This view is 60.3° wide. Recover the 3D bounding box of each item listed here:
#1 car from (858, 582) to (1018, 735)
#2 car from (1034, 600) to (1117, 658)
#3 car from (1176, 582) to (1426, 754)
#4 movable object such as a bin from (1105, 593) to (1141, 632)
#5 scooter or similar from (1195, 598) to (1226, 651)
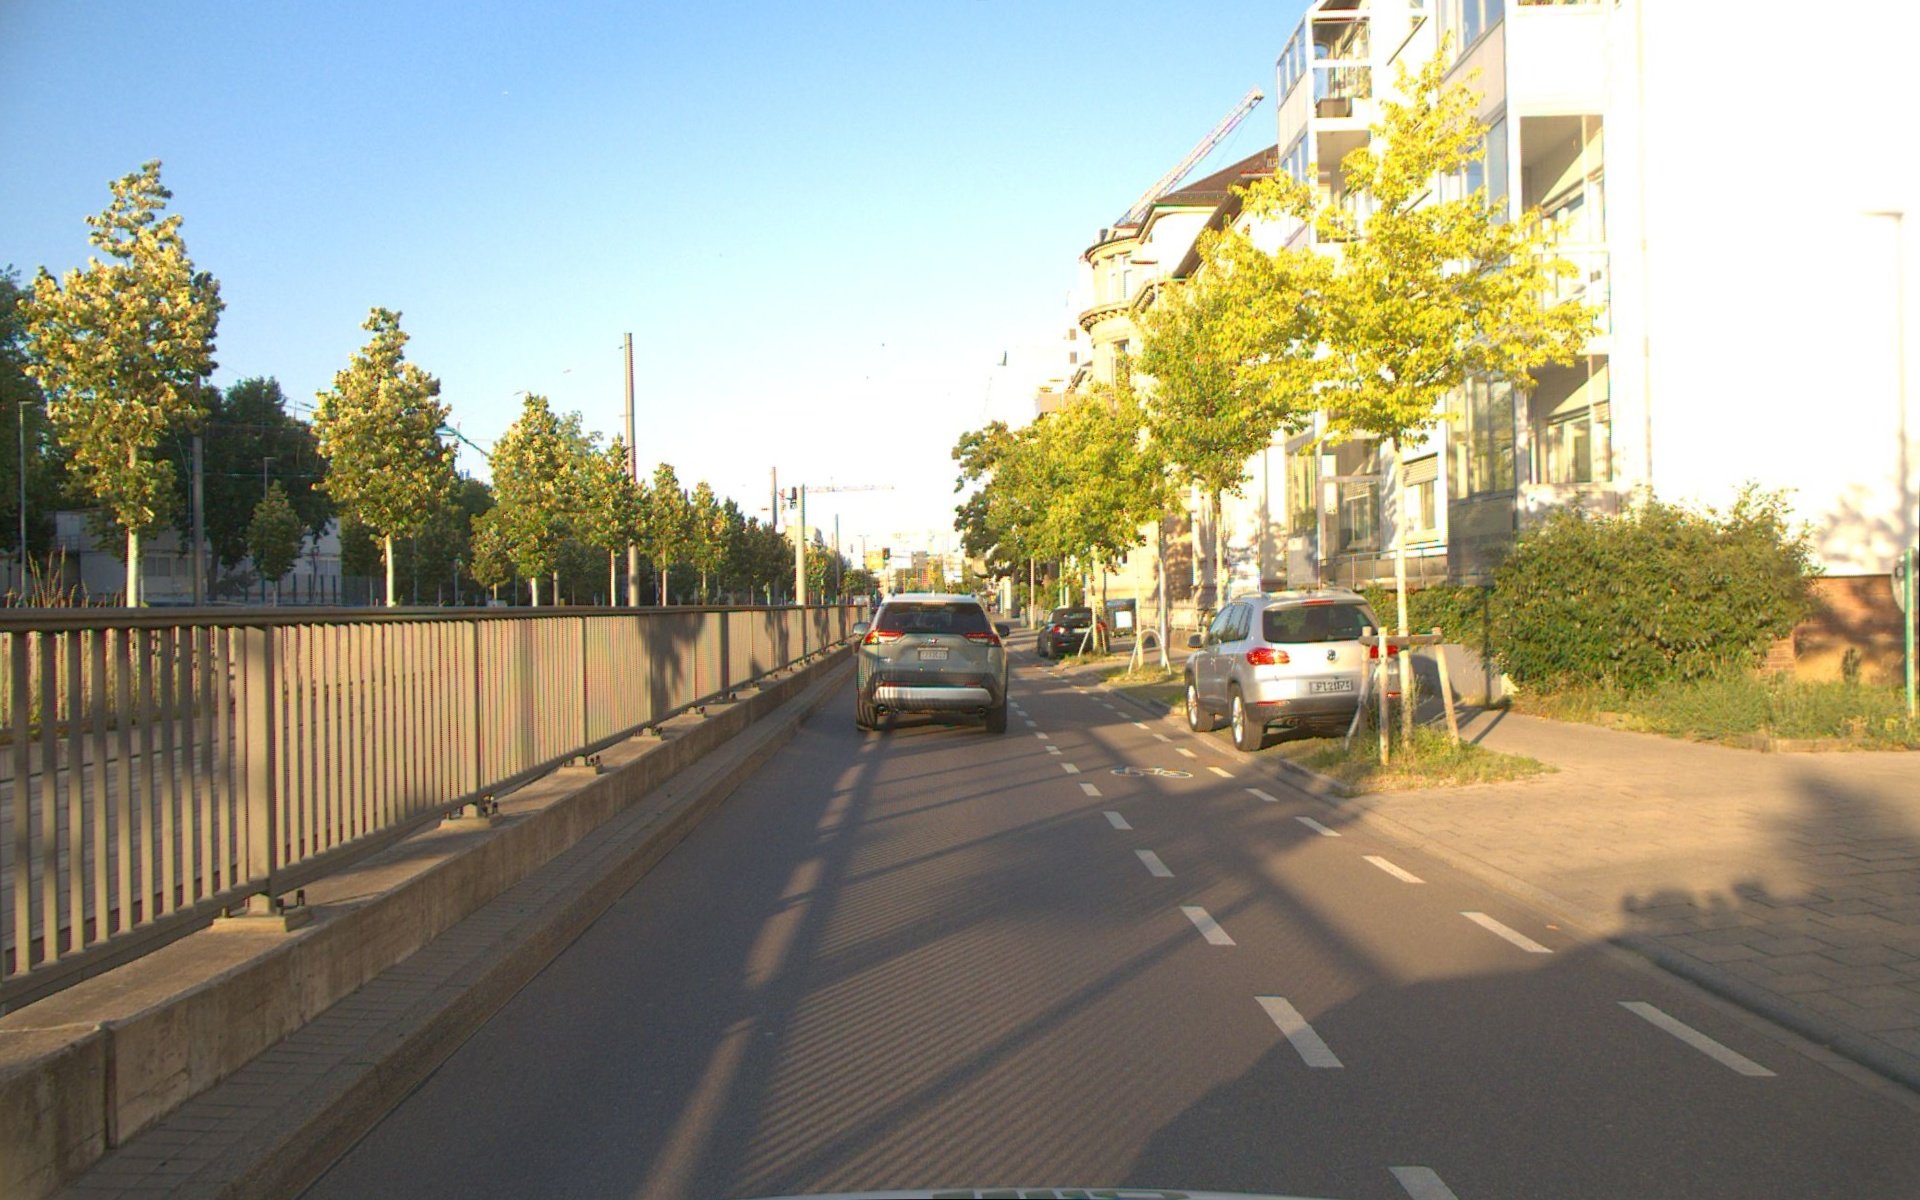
[{"bbox_3d":[-0.354,0.681,21.135,1.821,1.744,4.190,1,0,-3],"label":"car"},{"bbox_3d":[3.322,0.812,48.461,1.757,1.496,4.441,-4,0,-4],"label":"car"},{"bbox_3d":[3.806,0.695,19.208,1.817,1.736,4.251,-1,0,-3],"label":"car"},{"bbox_3d":[6.353,0.488,64.473,1.235,1.487,1.123,-1,0,-4],"label":"movable object such as a bin"},{"bbox_3d":[6.115,0.594,40.420,0.481,1.280,1.207,0,-1,-5],"label":"scooter or similar"}]
